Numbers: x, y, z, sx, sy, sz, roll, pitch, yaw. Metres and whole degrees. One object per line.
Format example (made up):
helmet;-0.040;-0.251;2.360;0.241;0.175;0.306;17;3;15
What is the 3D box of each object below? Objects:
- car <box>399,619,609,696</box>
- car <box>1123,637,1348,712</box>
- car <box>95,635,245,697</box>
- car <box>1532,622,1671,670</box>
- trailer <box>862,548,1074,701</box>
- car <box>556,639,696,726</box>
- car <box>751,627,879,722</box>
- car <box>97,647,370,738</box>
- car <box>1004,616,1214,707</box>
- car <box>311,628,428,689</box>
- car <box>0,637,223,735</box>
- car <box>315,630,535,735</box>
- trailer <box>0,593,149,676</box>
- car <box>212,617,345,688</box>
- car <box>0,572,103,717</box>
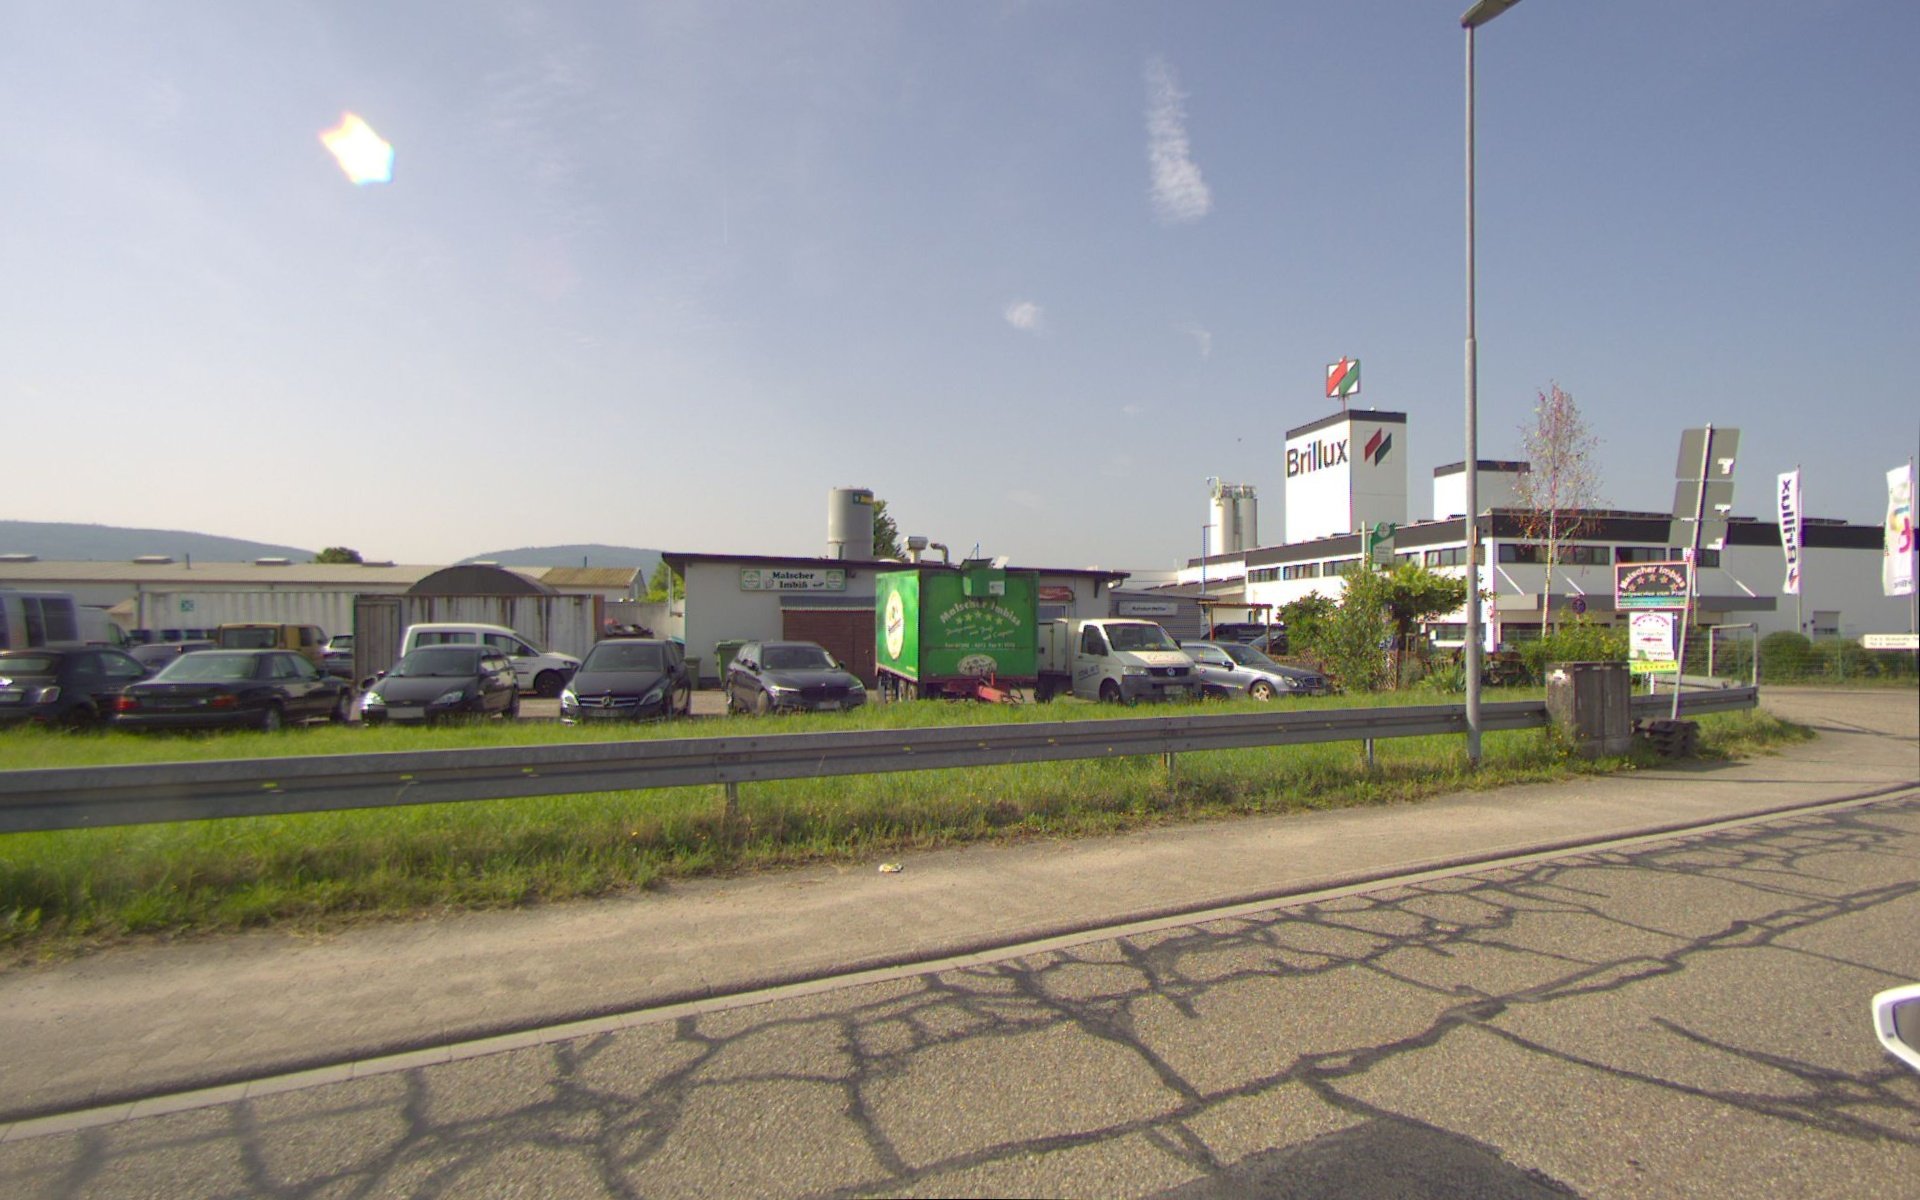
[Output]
car;-11.362;1.429;25.356;4.450;1.699;1.995;2;0;-13
car;6.182;1.628;23.049;1.946;1.530;4.785;2;-3;-39
car;-20.549;1.690;26.316;1.734;1.483;3.656;1;-3;-15
car;25.290;1.799;39.820;2.112;1.775;4.660;1;-2;-8
trailer;-0.117;0.591;20.842;2.807;2.638;6.310;1;-3;-15
car;-5.957;1.420;18.460;1.747;1.335;4.959;-1;-2;-10
car;-2.904;1.373;19.588;2.139;1.554;5.135;-1;-2;-10
car;-11.715;1.419;16.658;1.798;1.235;4.689;-1;-2;-10
car;3.029;1.294;21.768;1.973;1.728;5.248;1;-3;-25
car;-18.407;1.819;31.542;1.965;1.772;3.992;0;-3;-12
car;-14.419;1.340;16.442;1.887;1.372;4.758;-1;-2;-10
car;-9.335;1.384;18.074;1.989;1.554;5.135;-1;-2;-10
trailer;-26.409;1.027;28.820;2.176;2.152;5.761;0;-3;-8
car;-20.806;1.596;30.862;1.965;2.040;3.992;0;-3;-12
car;-17.066;0.754;16.393;2.253;2.403;5.398;-1;-2;-10
